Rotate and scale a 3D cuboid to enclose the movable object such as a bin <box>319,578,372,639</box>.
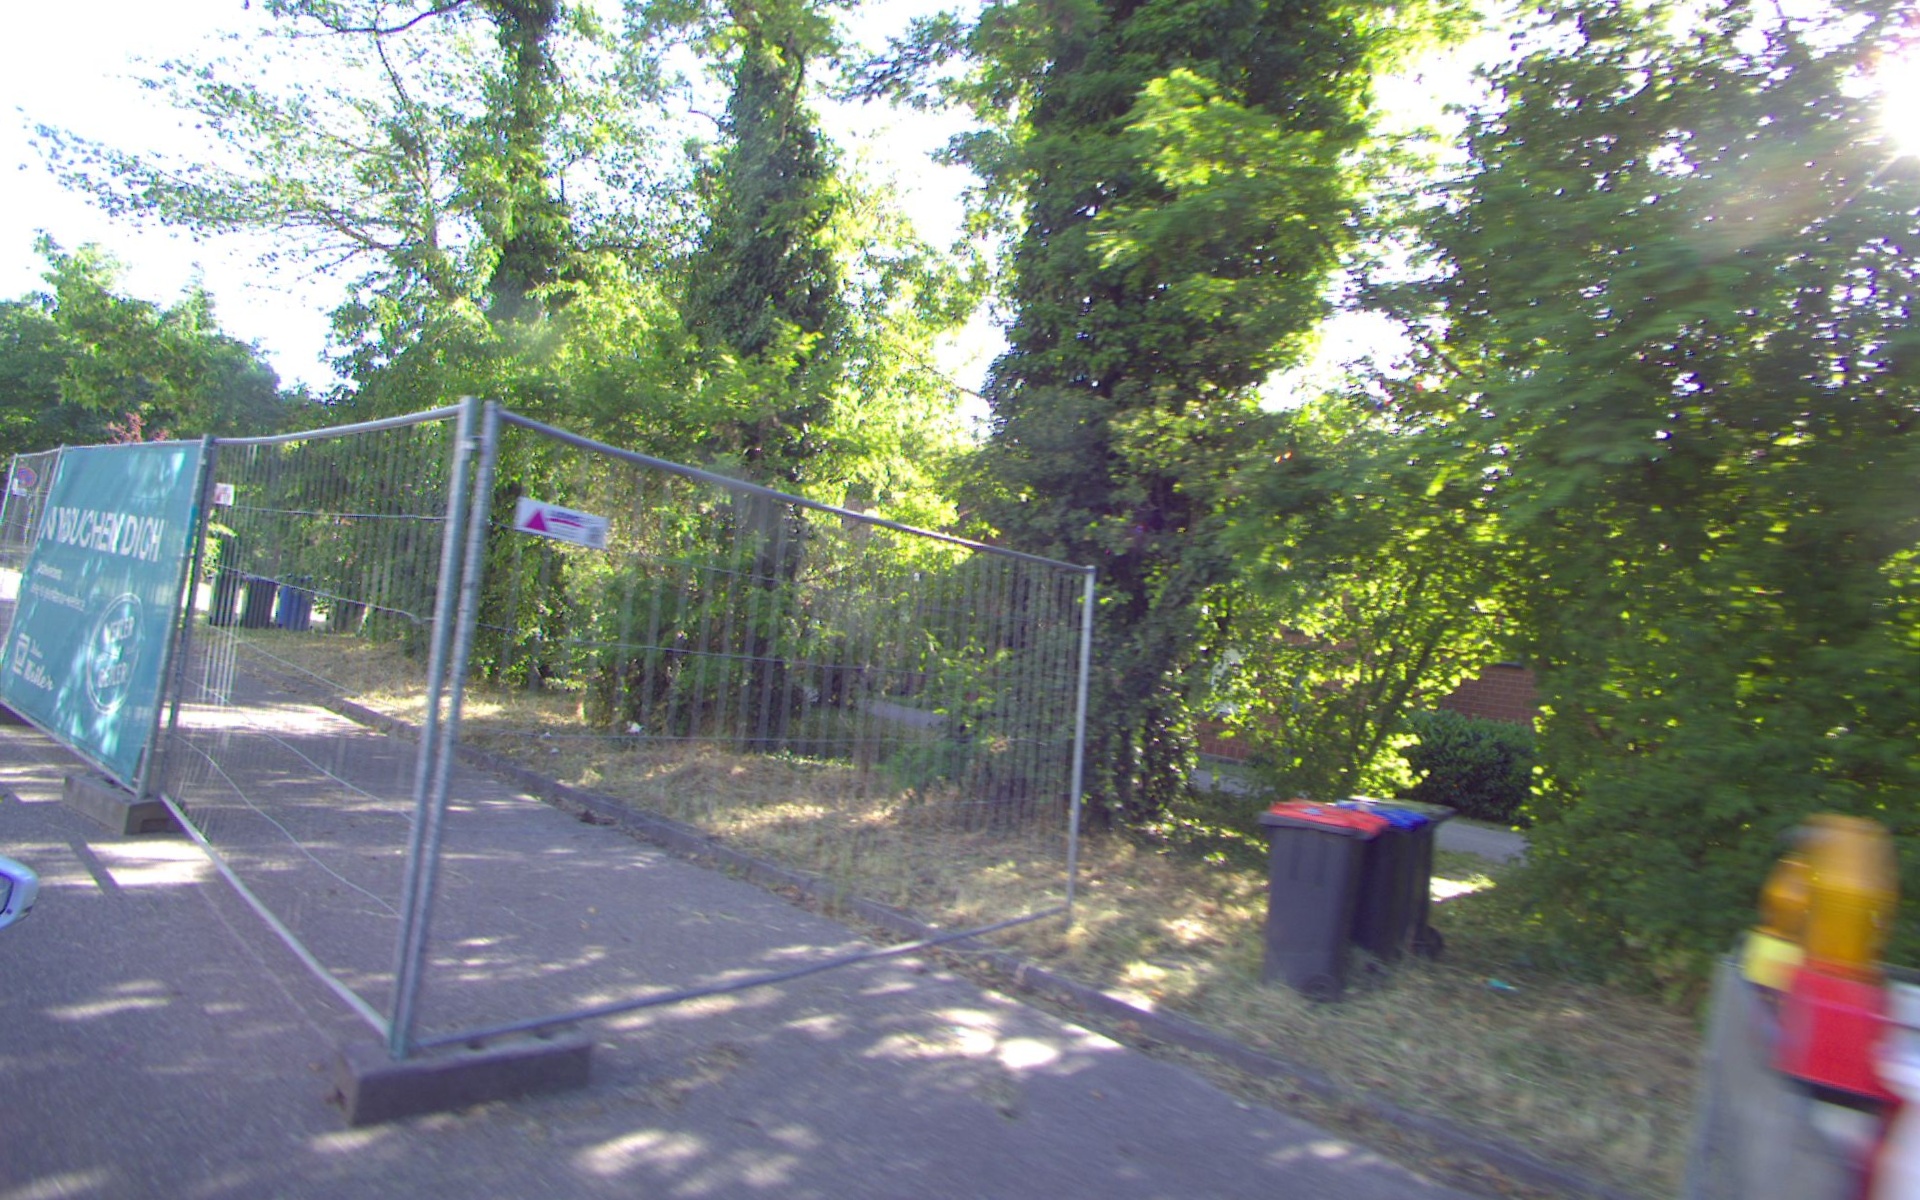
[{"bbox_3d":[-11.068,0.149,18.123,0.600,1.011,0.562,6,-1,41],"label":"movable object such as a bin"}]

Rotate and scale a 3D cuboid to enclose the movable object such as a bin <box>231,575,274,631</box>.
[{"bbox_3d":[-12.117,0.047,17.227,0.477,0.880,0.412,6,-1,41],"label":"movable object such as a bin"}]

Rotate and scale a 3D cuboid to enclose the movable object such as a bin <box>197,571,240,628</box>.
[{"bbox_3d":[-12.418,-0.006,16.843,0.477,0.880,0.412,6,-1,41],"label":"movable object such as a bin"}]

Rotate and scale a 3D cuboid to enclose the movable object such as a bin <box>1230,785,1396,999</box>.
[{"bbox_3d":[1.742,1.398,4.954,0.551,0.871,0.484,6,-3,38],"label":"movable object such as a bin"}]

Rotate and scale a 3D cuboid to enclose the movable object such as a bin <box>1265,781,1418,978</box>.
[{"bbox_3d":[2.031,1.447,5.348,0.551,0.871,0.484,6,-3,38],"label":"movable object such as a bin"}]

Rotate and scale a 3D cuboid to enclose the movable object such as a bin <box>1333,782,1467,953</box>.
[{"bbox_3d":[2.667,1.588,6.093,0.551,0.871,0.484,6,-3,38],"label":"movable object such as a bin"}]

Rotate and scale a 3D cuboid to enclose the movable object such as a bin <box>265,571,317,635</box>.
[{"bbox_3d":[-11.641,0.052,17.502,0.600,1.011,0.518,6,-1,41],"label":"movable object such as a bin"}]

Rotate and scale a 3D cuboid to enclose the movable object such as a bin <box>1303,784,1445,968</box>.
[{"bbox_3d":[2.355,1.532,5.716,0.551,0.871,0.484,6,-3,38],"label":"movable object such as a bin"}]
